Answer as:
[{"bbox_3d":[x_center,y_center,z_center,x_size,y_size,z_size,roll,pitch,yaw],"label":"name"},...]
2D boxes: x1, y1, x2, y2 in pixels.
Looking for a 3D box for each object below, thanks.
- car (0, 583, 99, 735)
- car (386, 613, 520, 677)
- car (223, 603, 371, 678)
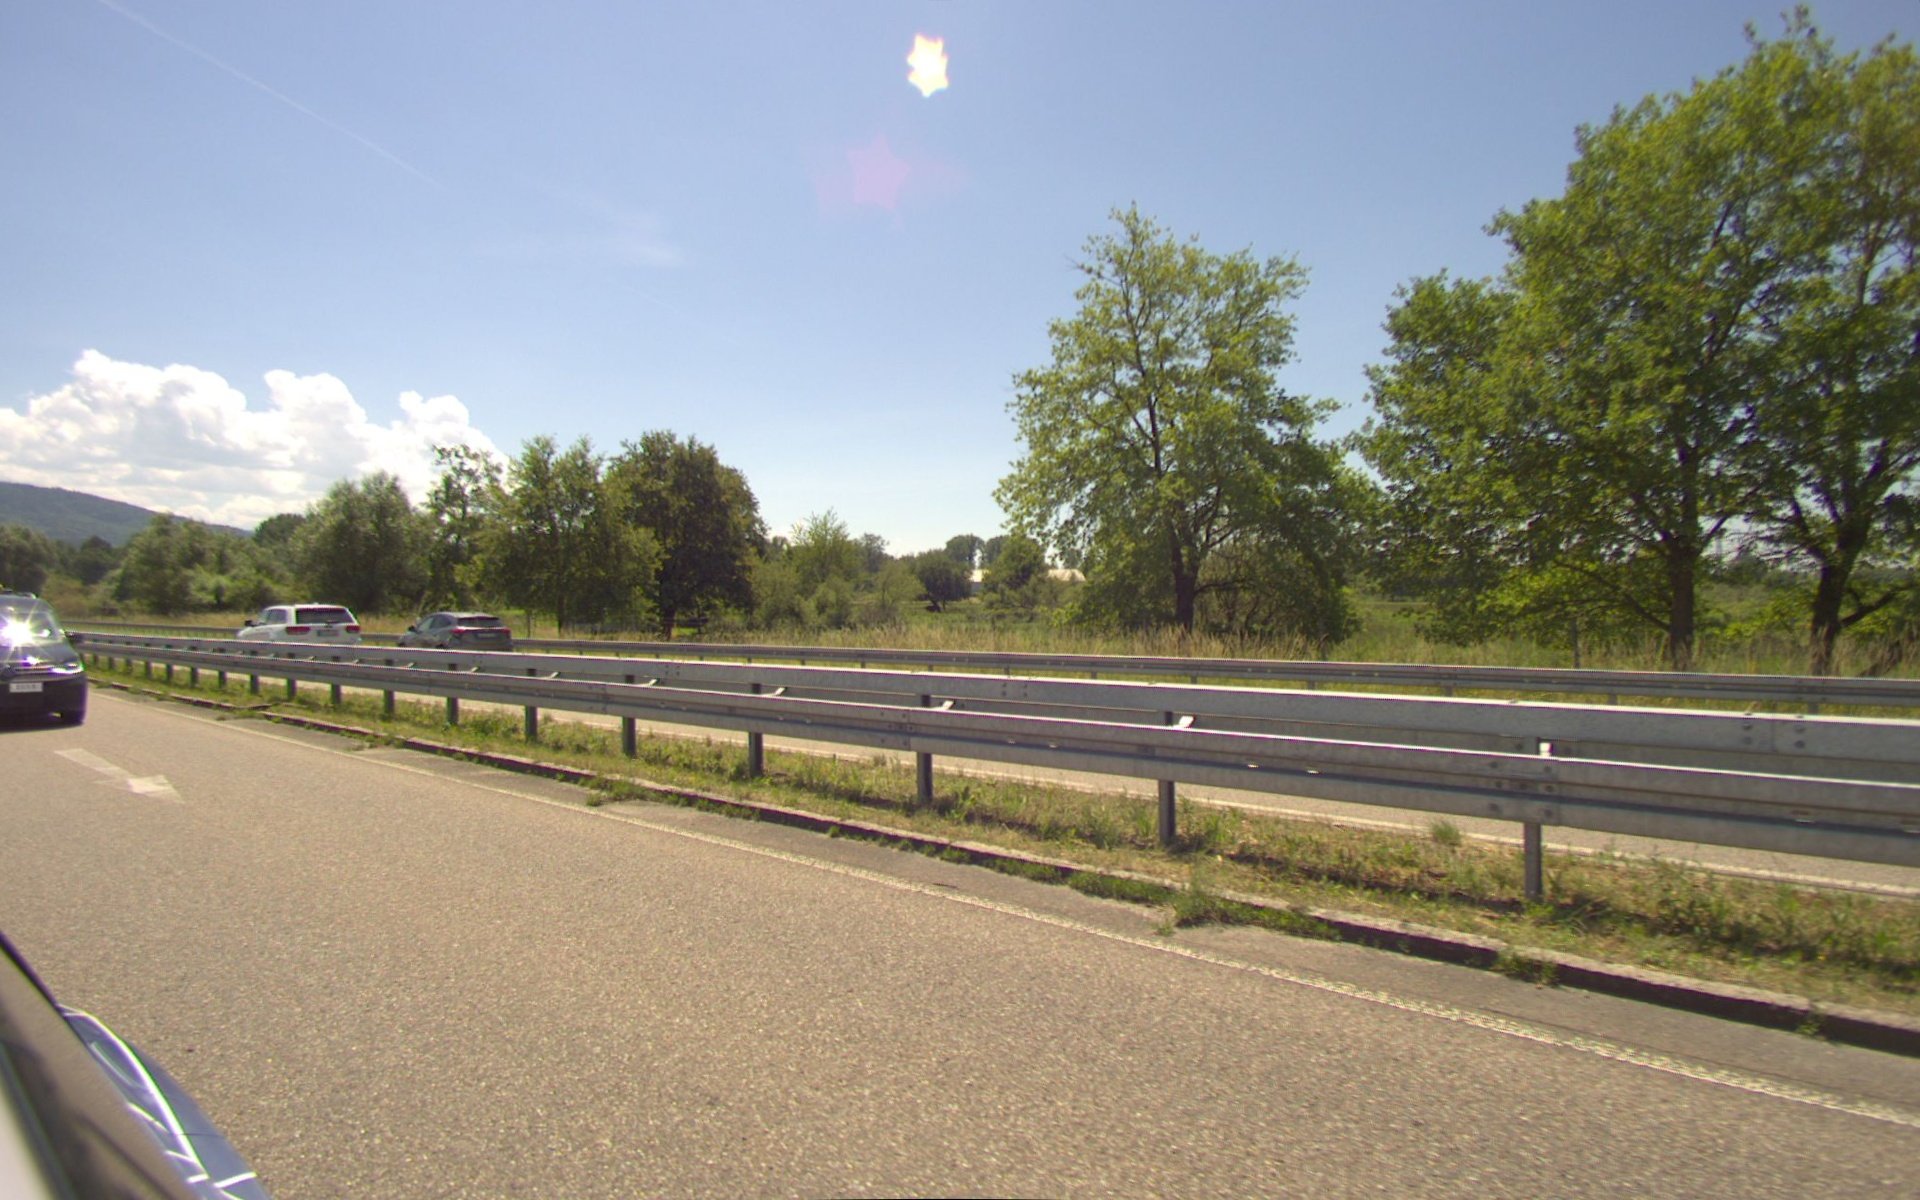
[{"bbox_3d":[-14.218,0.785,14.512,5.567,1.901,1.836,-1,-1,39],"label":"car"},{"bbox_3d":[-14.058,1.194,27.961,4.167,1.630,1.823,-1,-1,40],"label":"car"},{"bbox_3d":[-17.699,1.041,26.921,4.964,1.821,1.960,-1,-1,40],"label":"car"}]
